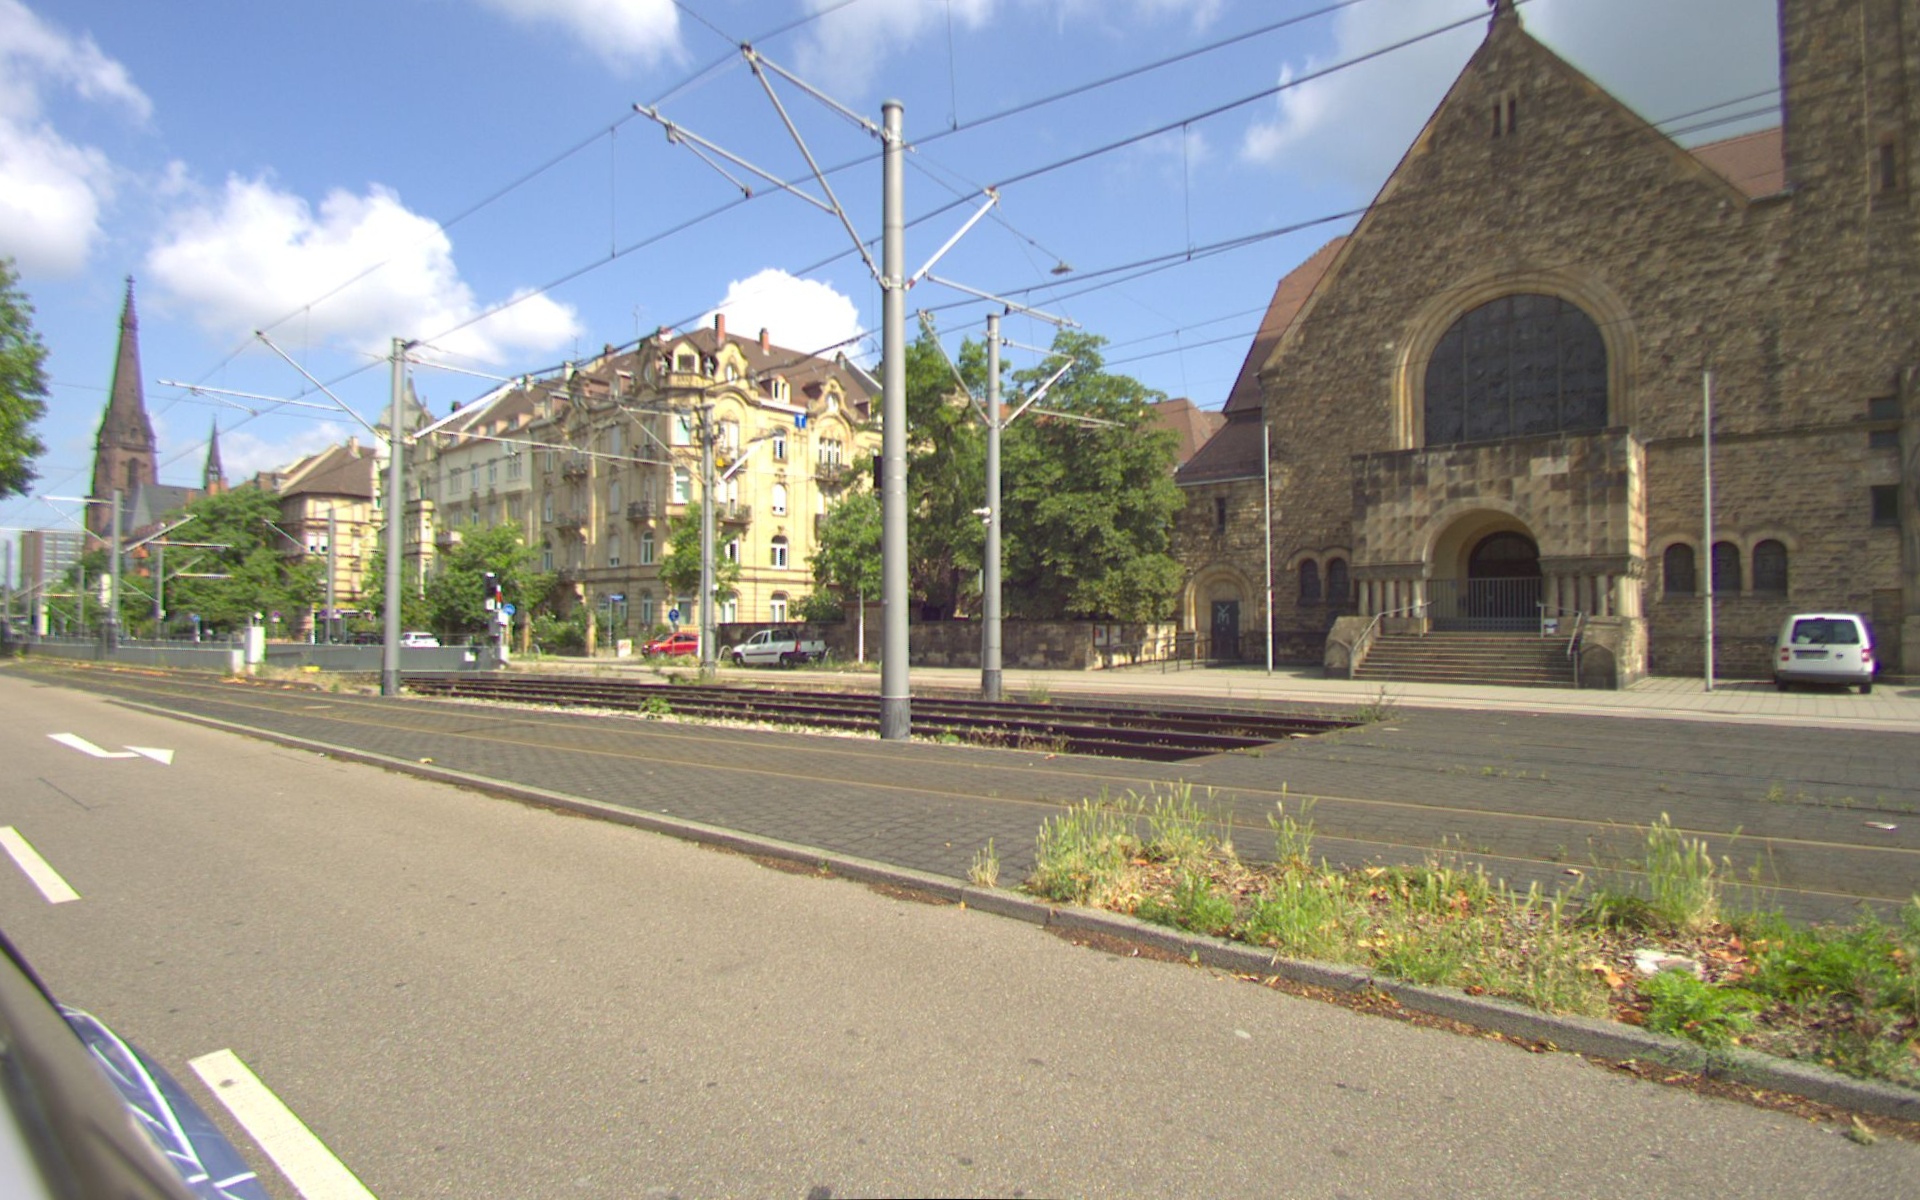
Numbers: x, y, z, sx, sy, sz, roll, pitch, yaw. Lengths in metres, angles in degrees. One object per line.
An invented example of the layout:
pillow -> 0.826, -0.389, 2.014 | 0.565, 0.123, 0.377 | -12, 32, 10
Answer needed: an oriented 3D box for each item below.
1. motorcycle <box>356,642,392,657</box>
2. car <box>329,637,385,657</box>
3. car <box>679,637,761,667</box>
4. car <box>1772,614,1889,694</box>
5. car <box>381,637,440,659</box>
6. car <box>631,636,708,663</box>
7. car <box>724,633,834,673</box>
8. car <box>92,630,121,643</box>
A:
motorcycle -> -39.576, 3.366, 68.355 | 1.416, 0.949, 1.742 | -2, -4, 39
car -> -41.817, 3.223, 70.140 | 4.096, 1.337, 2.000 | -2, -3, 39
car -> -12.515, 2.701, 52.994 | 1.723, 1.475, 3.921 | -2, -3, 41
car -> 20.877, 1.265, 24.422 | 1.892, 1.762, 3.832 | -2, -3, 38
car -> -35.013, 3.021, 64.452 | 4.308, 1.338, 1.734 | -2, -3, 39
car -> -16.418, 2.798, 57.238 | 1.933, 1.475, 3.738 | -2, -3, 44
car -> -7.266, 2.084, 40.431 | 4.410, 1.516, 1.911 | -2, -3, 39
car -> -103.654, 4.451, 122.885 | 4.111, 1.650, 1.973 | -2, -3, 41
